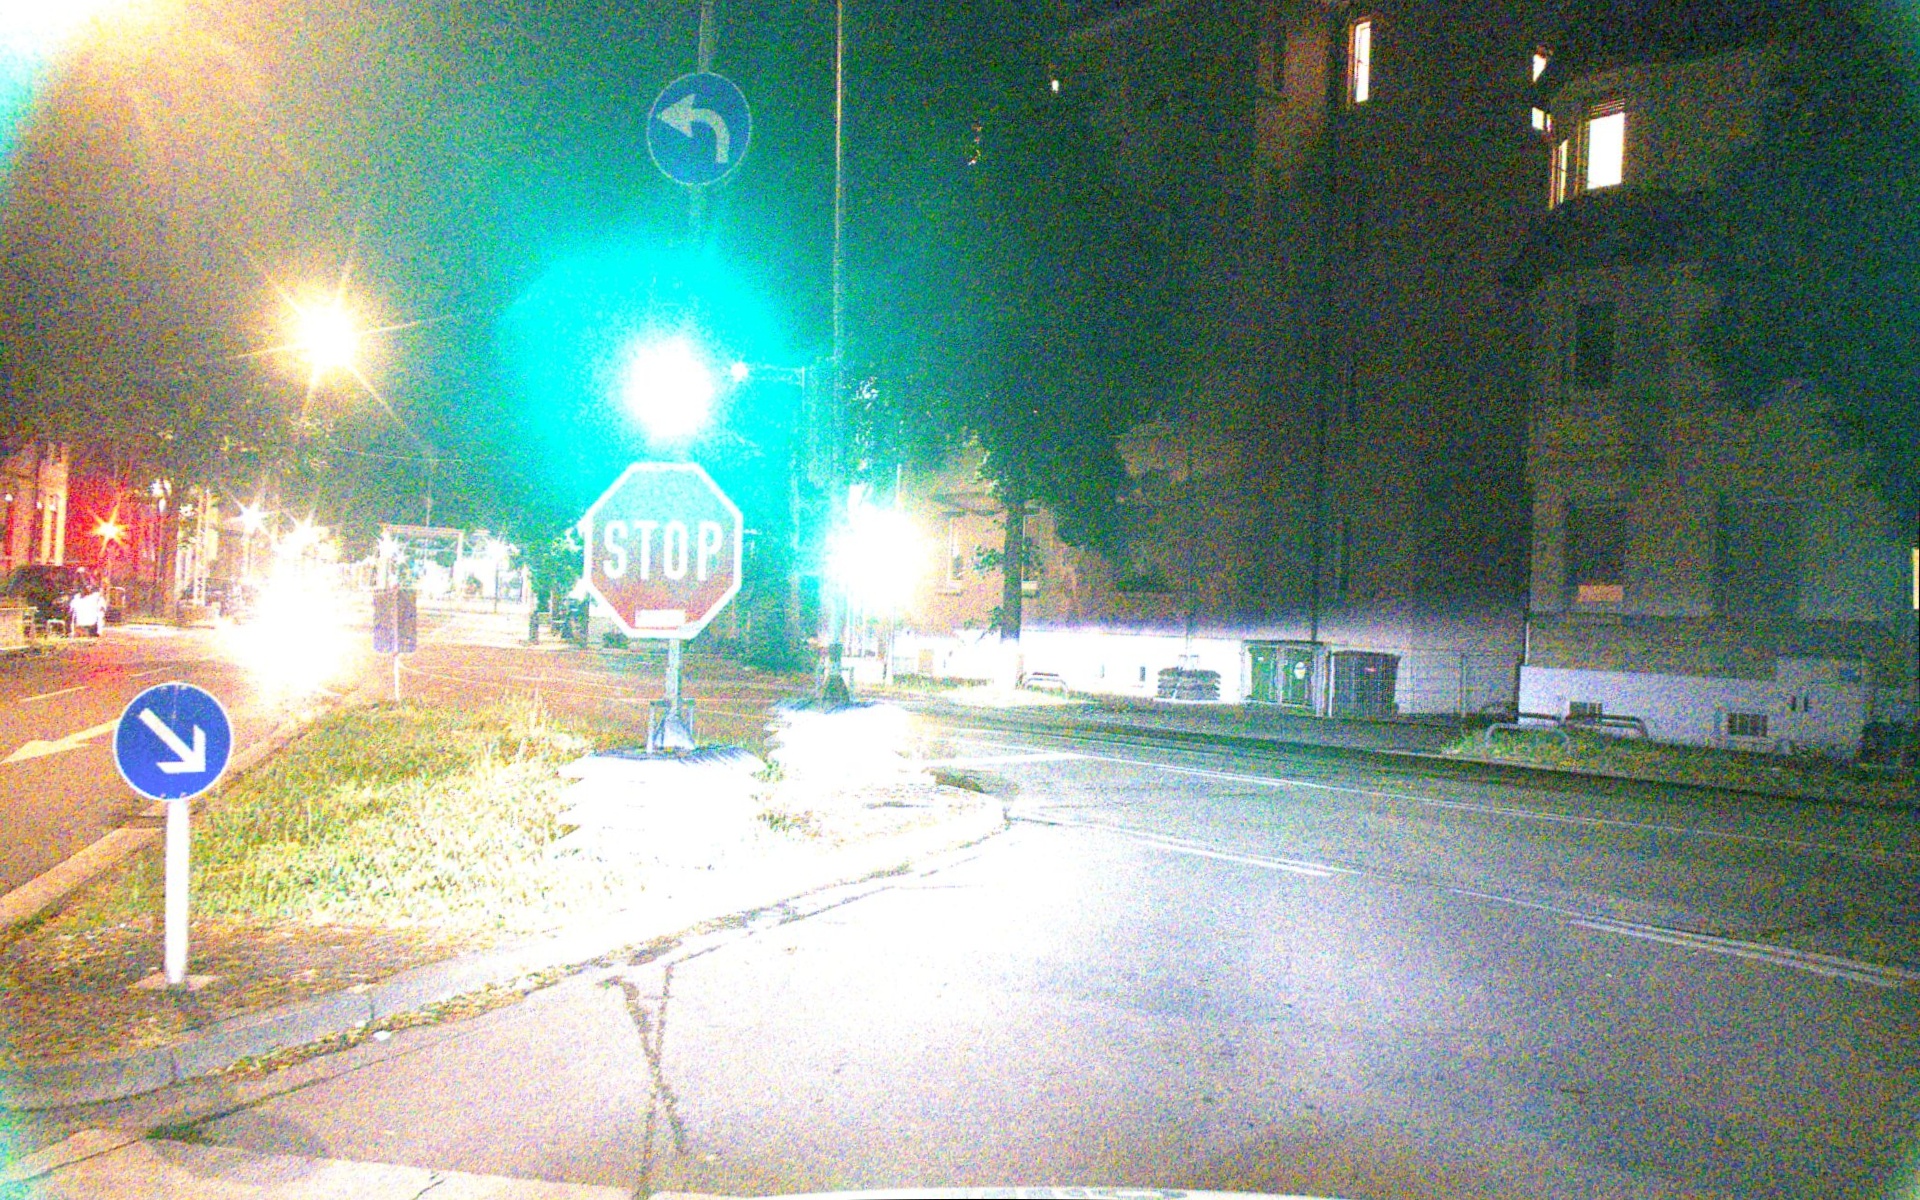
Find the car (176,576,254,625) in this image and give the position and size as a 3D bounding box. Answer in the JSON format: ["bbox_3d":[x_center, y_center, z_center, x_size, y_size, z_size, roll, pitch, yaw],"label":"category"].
[{"bbox_3d":[-25.963,0.026,57.762,1.564,1.517,3.689,6,-1,-11],"label":"car"}]

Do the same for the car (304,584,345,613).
[{"bbox_3d":[-35.280,-0.122,91.881,1.756,1.440,4.107,5,-1,-17],"label":"car"}]

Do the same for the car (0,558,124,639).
[{"bbox_3d":[-20.581,-0.033,37.574,1.854,1.624,4.009,5,-1,-14],"label":"car"}]

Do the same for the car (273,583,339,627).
[{"bbox_3d":[-23.099,0.158,58.507,1.687,1.454,3.984,2,0,-15],"label":"car"}]

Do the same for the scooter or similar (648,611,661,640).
[{"bbox_3d":[-12.666,1.045,68.513,0.414,1.150,1.490,2,-1,-8],"label":"scooter or similar"}]

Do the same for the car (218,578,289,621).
[{"bbox_3d":[-28.042,-0.023,65.755,1.755,1.517,4.314,6,-1,-14],"label":"car"}]

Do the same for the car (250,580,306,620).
[{"bbox_3d":[-29.523,-0.014,71.708,1.757,1.517,3.981,6,-1,-17],"label":"car"}]

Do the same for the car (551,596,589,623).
[{"bbox_3d":[-24.522,0.583,103.889,1.708,1.485,4.700,4,-1,-20],"label":"car"}]
